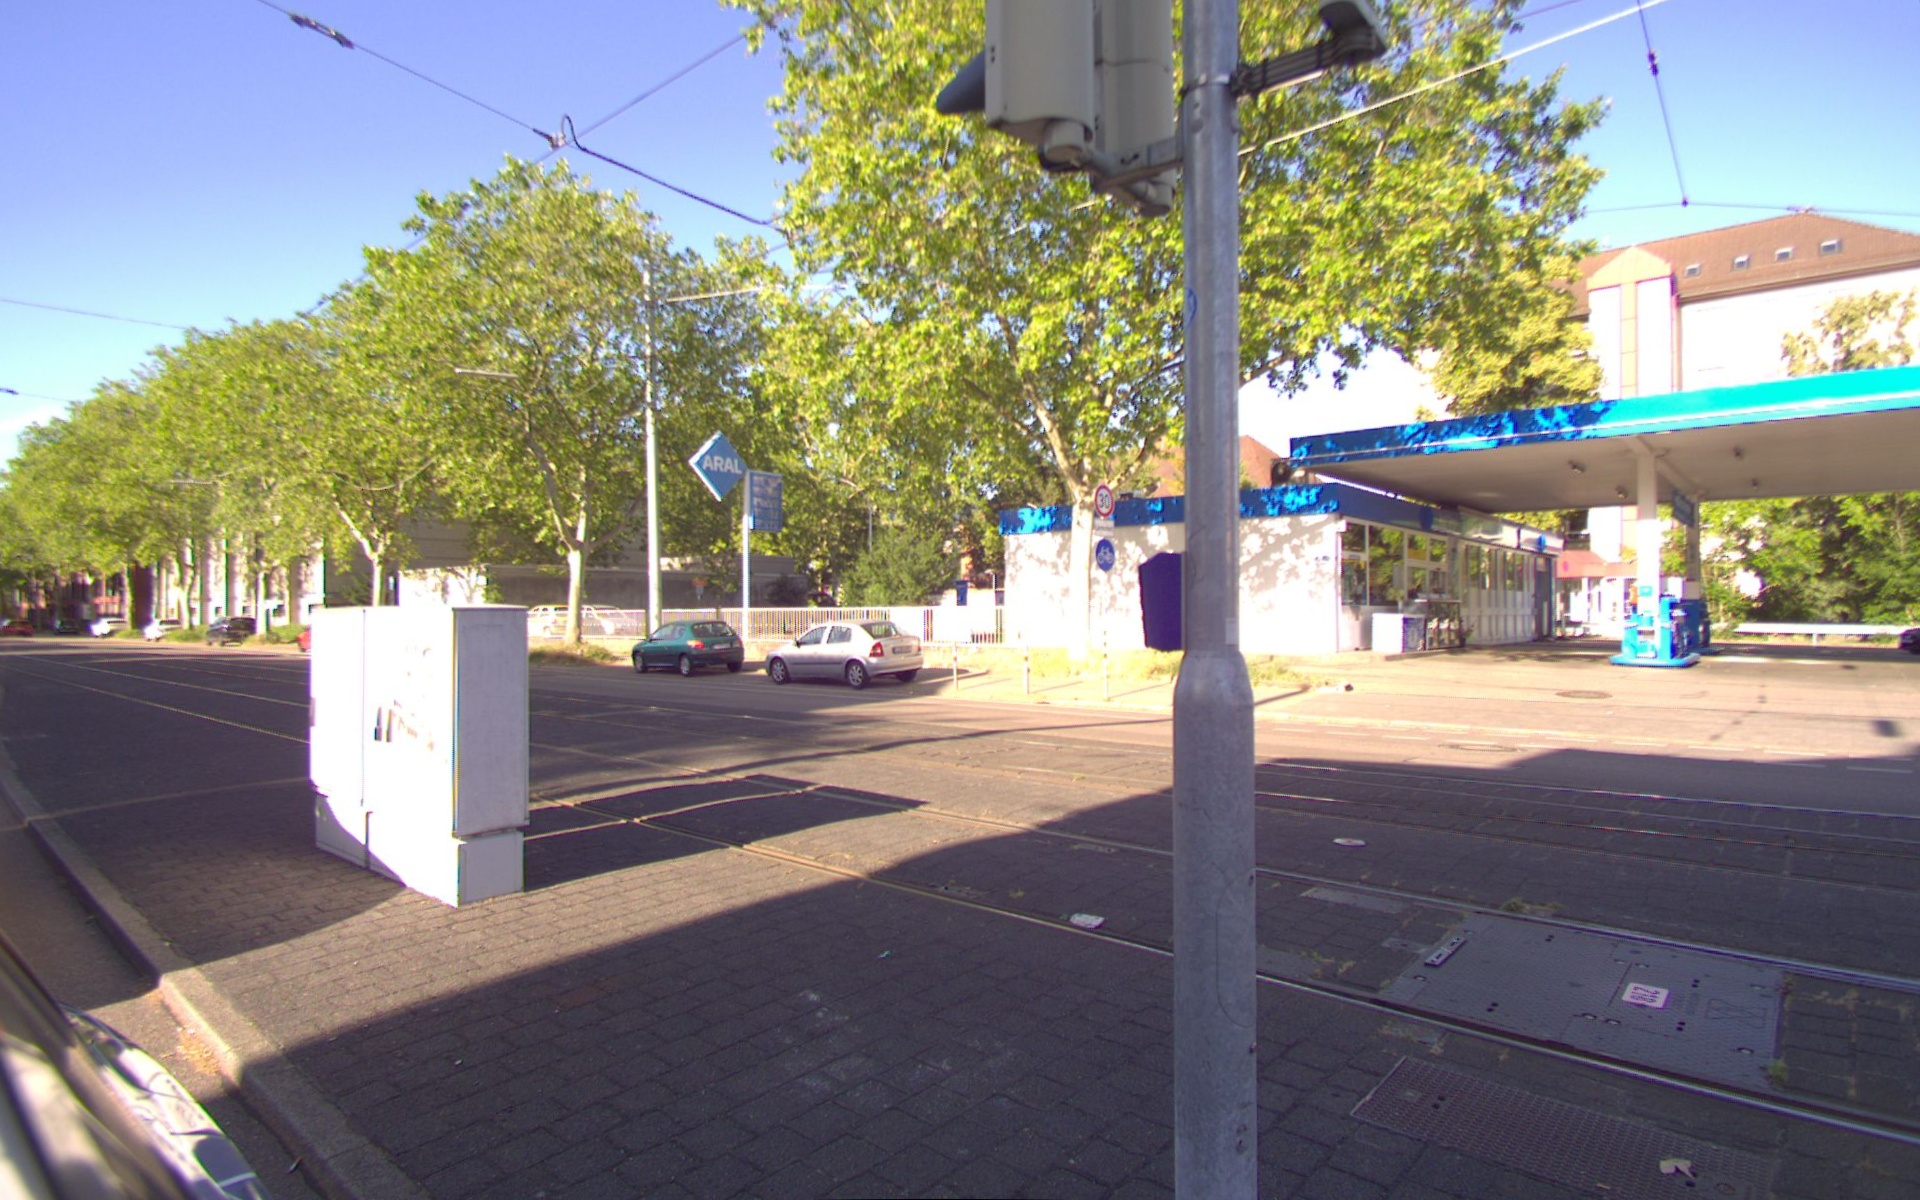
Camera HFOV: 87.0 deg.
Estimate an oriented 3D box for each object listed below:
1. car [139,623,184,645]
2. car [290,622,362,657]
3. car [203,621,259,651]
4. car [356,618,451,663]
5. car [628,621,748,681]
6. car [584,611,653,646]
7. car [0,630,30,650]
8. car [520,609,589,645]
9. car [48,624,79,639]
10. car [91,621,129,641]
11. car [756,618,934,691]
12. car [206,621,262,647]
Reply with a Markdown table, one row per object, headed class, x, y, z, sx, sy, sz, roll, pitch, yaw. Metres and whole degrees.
| class | x | y | z | sx | sy | sz | roll | pitch | yaw |
| --- | --- | --- | --- | --- | --- | --- | --- | --- | --- |
| car | -53.809 | 2.284 | 68.192 | 3.998 | 1.420 | 1.678 | -1 | -2 | 41 |
| car | -29.009 | 1.779 | 46.267 | 3.998 | 1.480 | 1.678 | 0 | -1 | 41 |
| car | -40.733 | 1.975 | 56.528 | 3.998 | 1.587 | 1.678 | -1 | -2 | 41 |
| car | -22.122 | 1.569 | 40.183 | 4.431 | 1.534 | 1.731 | -1 | 3 | 40 |
| car | -7.251 | 1.299 | 26.834 | 3.253 | 1.431 | 1.526 | -1 | 0 | 41 |
| car | -14.691 | 1.197 | 43.457 | 3.151 | 1.431 | 1.525 | -1 | 0 | 44 |
| car | -77.820 | 3.250 | 82.848 | 4.761 | 1.534 | 1.887 | -1 | -2 | 40 |
| car | -16.835 | 1.093 | 41.973 | 3.151 | 1.431 | 1.525 | -1 | 0 | 44 |
| car | -85.183 | 2.963 | 96.154 | 3.998 | 1.420 | 1.678 | -1 | -2 | 41 |
| car | -66.811 | 2.406 | 79.539 | 3.998 | 1.569 | 1.678 | -1 | -2 | 41 |
| car | -2.633 | 1.144 | 22.614 | 3.998 | 1.431 | 1.709 | -1 | 0 | 41 |
| car | -40.598 | 1.883 | 56.569 | 3.998 | 1.420 | 1.678 | -1 | -2 | 41 |
